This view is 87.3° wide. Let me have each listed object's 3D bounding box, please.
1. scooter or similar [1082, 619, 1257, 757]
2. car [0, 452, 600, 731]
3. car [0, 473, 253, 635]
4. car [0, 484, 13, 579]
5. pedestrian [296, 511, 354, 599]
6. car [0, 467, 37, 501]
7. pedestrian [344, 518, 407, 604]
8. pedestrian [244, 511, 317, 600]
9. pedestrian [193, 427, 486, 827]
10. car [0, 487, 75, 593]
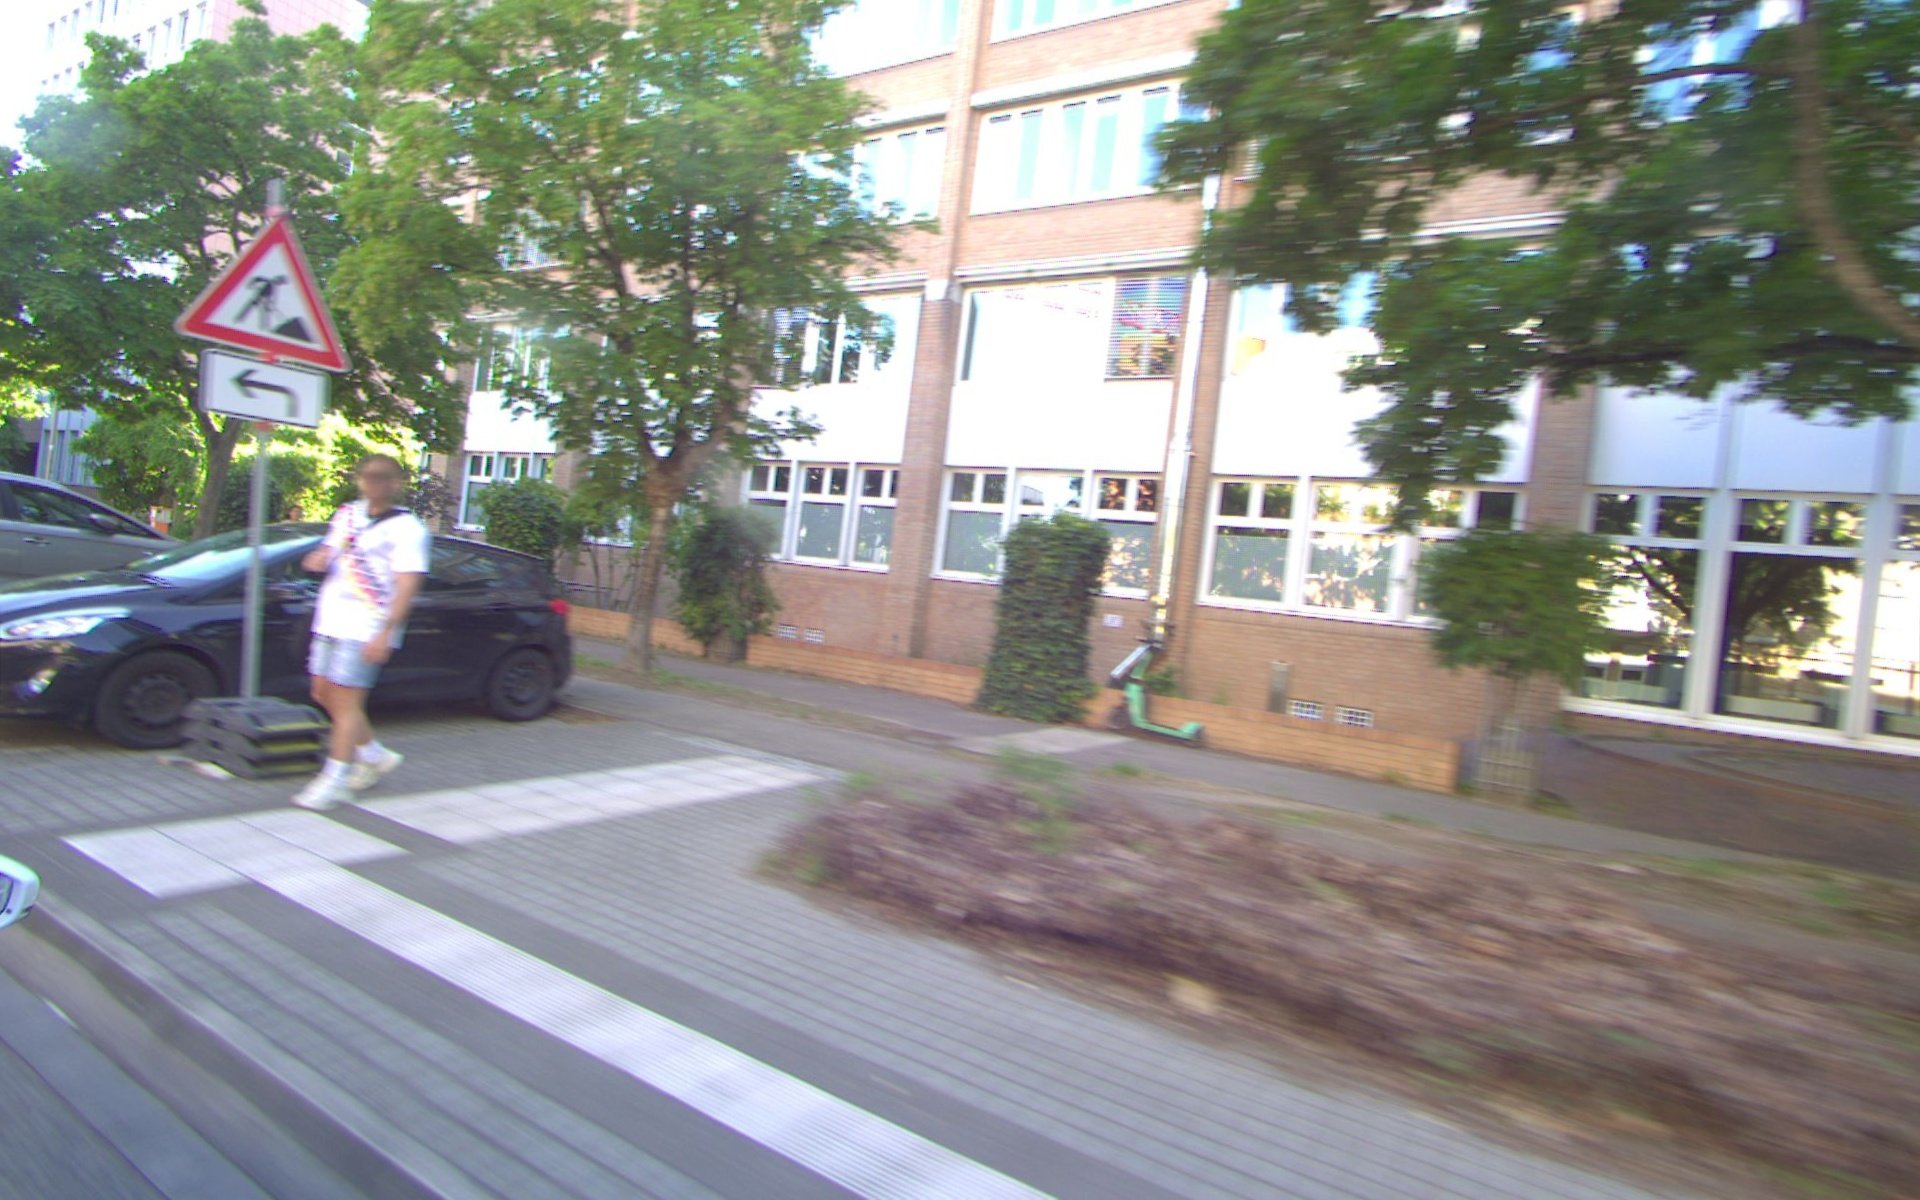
[{"bbox_3d":[2.436,1.004,11.754,1.774,1.340,0.550,6,-2,26],"label":"scooter or similar"},{"bbox_3d":[-4.863,0.016,7.328,1.744,1.456,3.942,7,-1,29],"label":"car"},{"bbox_3d":[-10.831,-0.600,11.217,1.905,1.617,4.364,7,-1,25],"label":"car"},{"bbox_3d":[-17.097,-1.263,15.070,1.794,1.503,3.849,7,2,31],"label":"car"},{"bbox_3d":[-11.935,-0.838,18.914,0.584,1.540,0.603,7,1,29],"label":"pedestrian"},{"bbox_3d":[-61.423,-7.595,63.487,1.965,1.802,4.085,6,-3,27],"label":"car"},{"bbox_3d":[-11.450,-0.765,19.711,0.549,1.572,0.757,7,1,29],"label":"pedestrian"},{"bbox_3d":[-12.310,-0.801,18.234,0.703,1.475,0.702,7,-1,29],"label":"pedestrian"},{"bbox_3d":[-3.028,0.111,4.974,0.685,1.734,0.919,7,3,18],"label":"pedestrian"},{"bbox_3d":[-14.607,-0.967,13.418,1.672,1.427,3.806,7,2,26],"label":"car"}]
